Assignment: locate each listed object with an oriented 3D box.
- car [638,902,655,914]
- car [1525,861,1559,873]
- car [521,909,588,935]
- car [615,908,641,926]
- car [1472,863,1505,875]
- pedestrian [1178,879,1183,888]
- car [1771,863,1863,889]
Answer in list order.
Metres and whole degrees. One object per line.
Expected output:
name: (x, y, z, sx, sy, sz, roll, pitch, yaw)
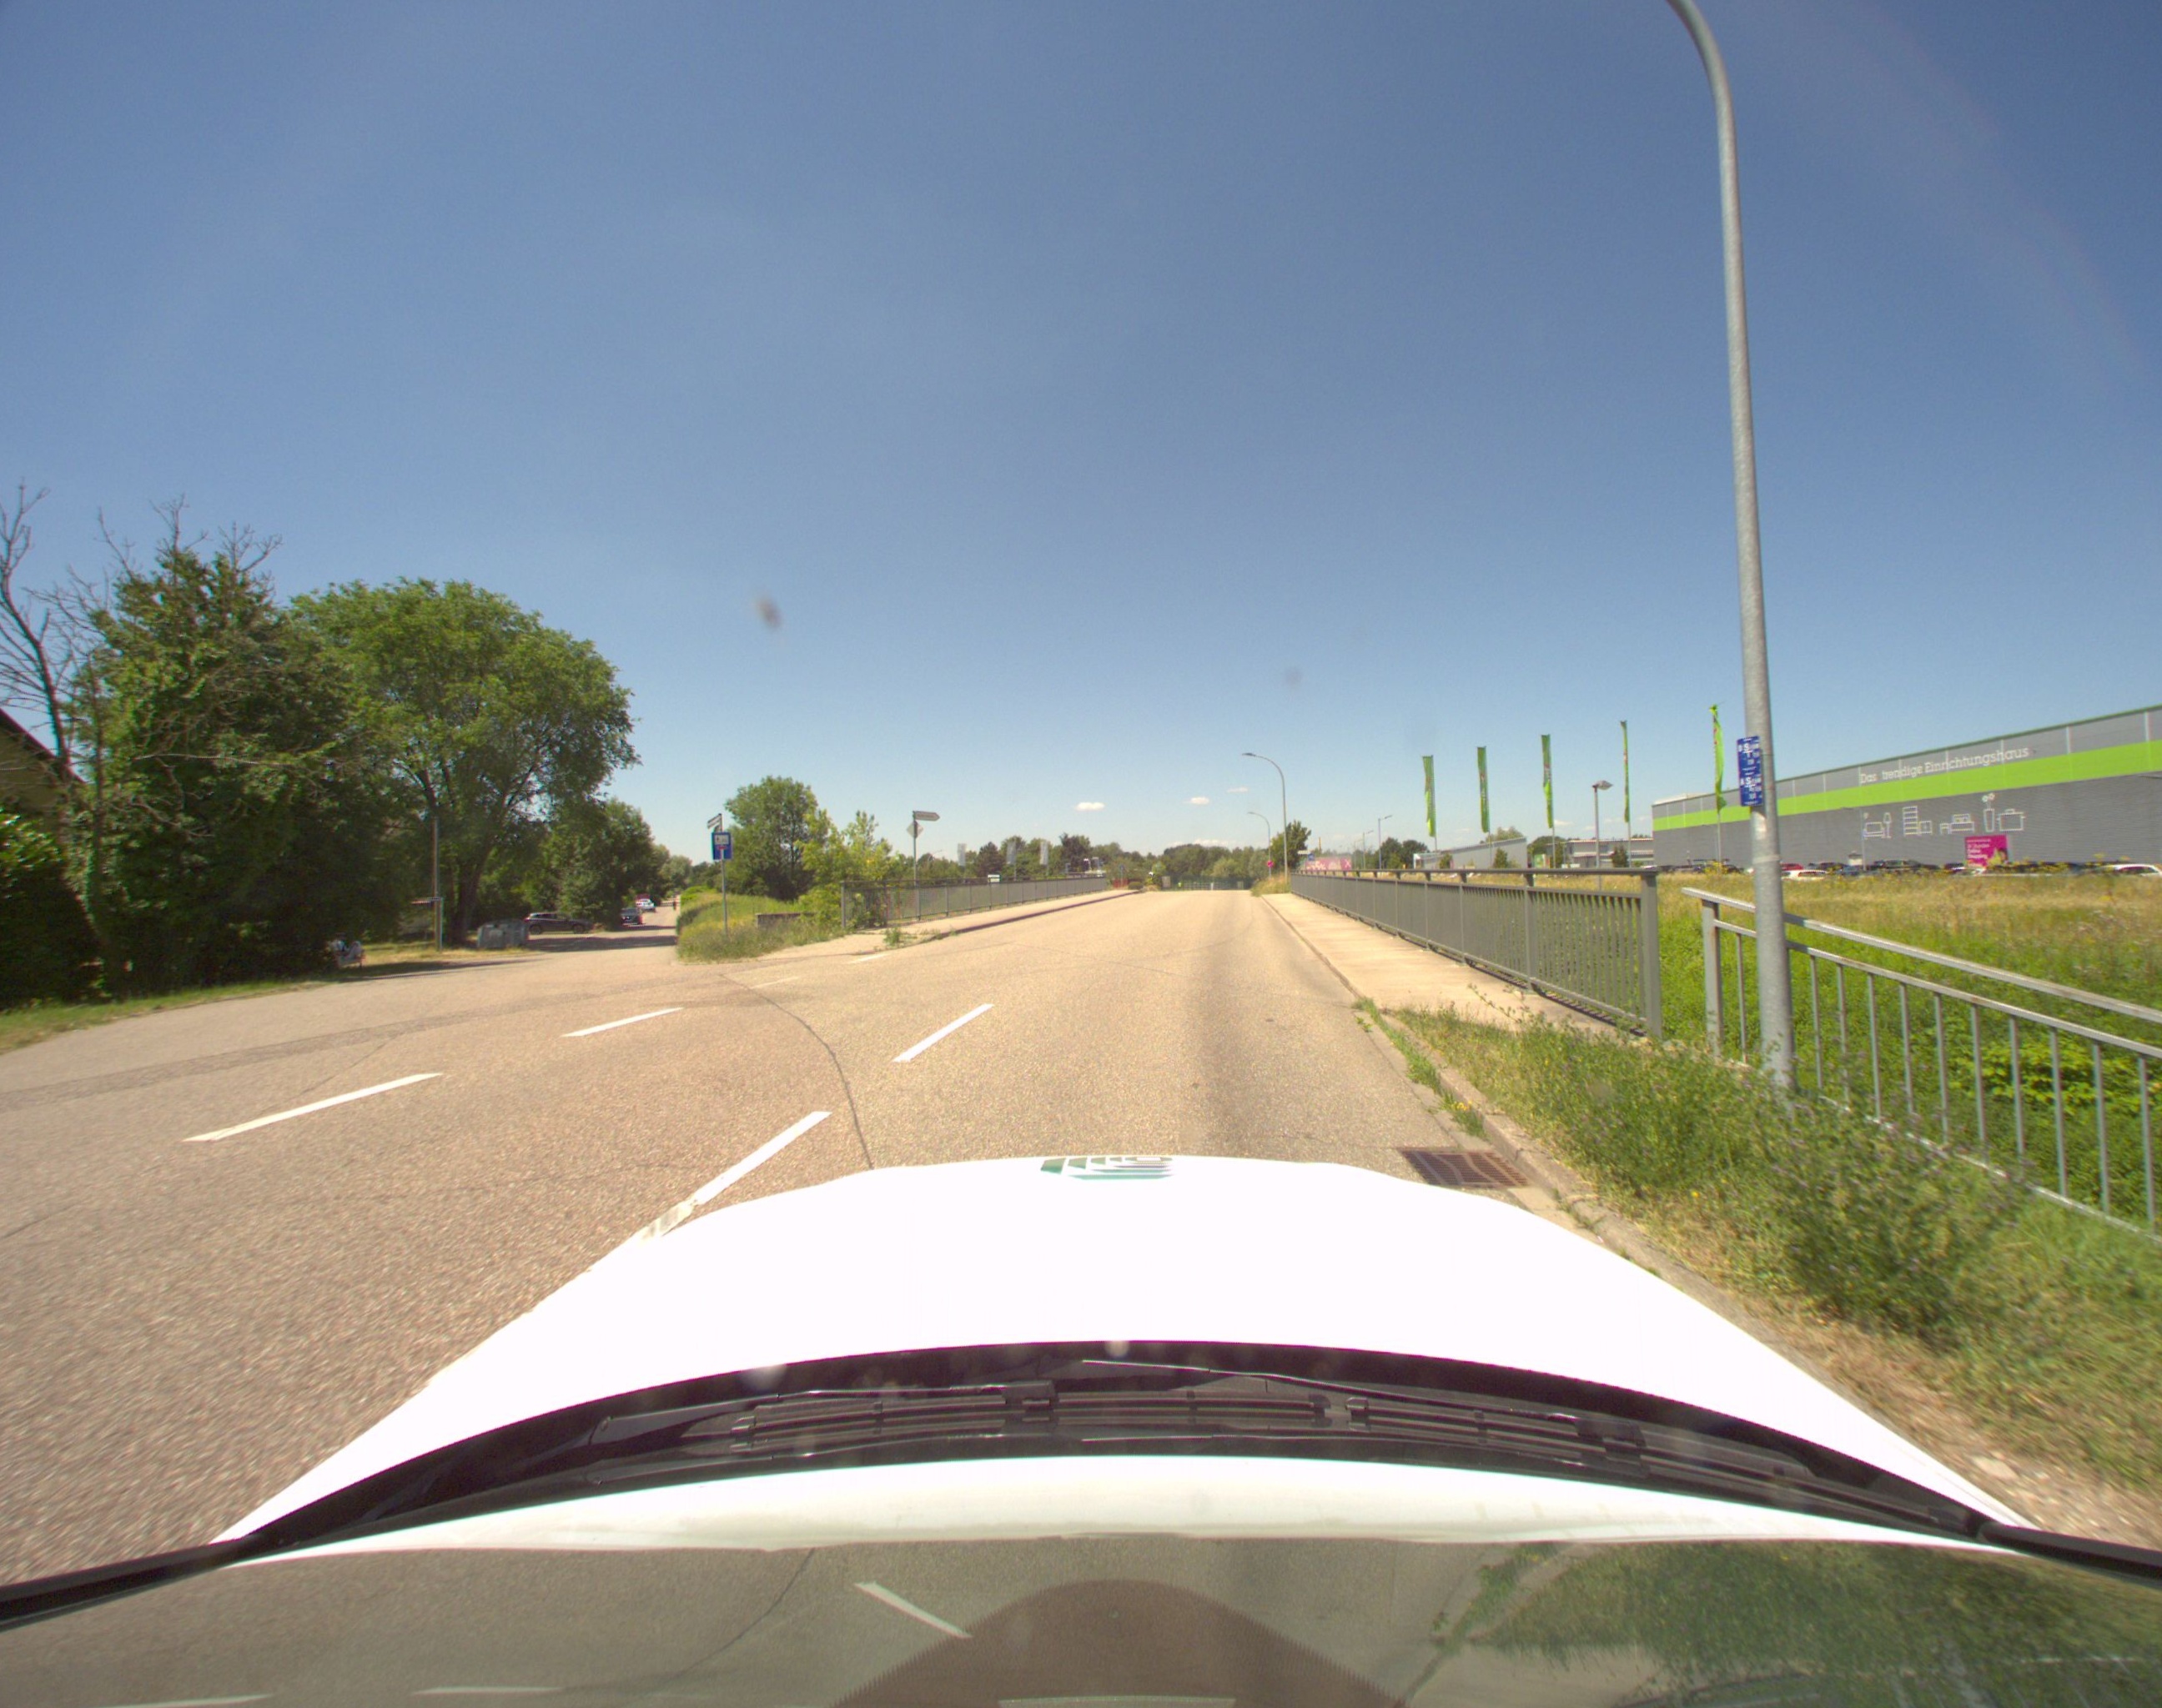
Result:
car: (-64.984, 8.077, 121.740, 2.007, 1.596, 3.959, -2, -2, -32)
car: (67.609, 1.912, 119.547, 3.957, 1.519, 2.008, -2, -3, 15)
car: (-39.567, 5.124, 61.308, 4.009, 1.571, 1.982, -2, -1, -27)
car: (-44.095, 6.110, 79.206, 2.007, 1.596, 3.959, -2, -2, -32)
car: (54.320, 2.009, 108.679, 3.706, 1.570, 1.899, -1, -1, 17)
pedestrian: (19.984, 5.994, 163.512, 0.601, 1.839, 0.808, -3, -3, 19)
car: (48.395, 1.445, 53.624, 3.956, 1.531, 1.955, -3, -3, 16)
